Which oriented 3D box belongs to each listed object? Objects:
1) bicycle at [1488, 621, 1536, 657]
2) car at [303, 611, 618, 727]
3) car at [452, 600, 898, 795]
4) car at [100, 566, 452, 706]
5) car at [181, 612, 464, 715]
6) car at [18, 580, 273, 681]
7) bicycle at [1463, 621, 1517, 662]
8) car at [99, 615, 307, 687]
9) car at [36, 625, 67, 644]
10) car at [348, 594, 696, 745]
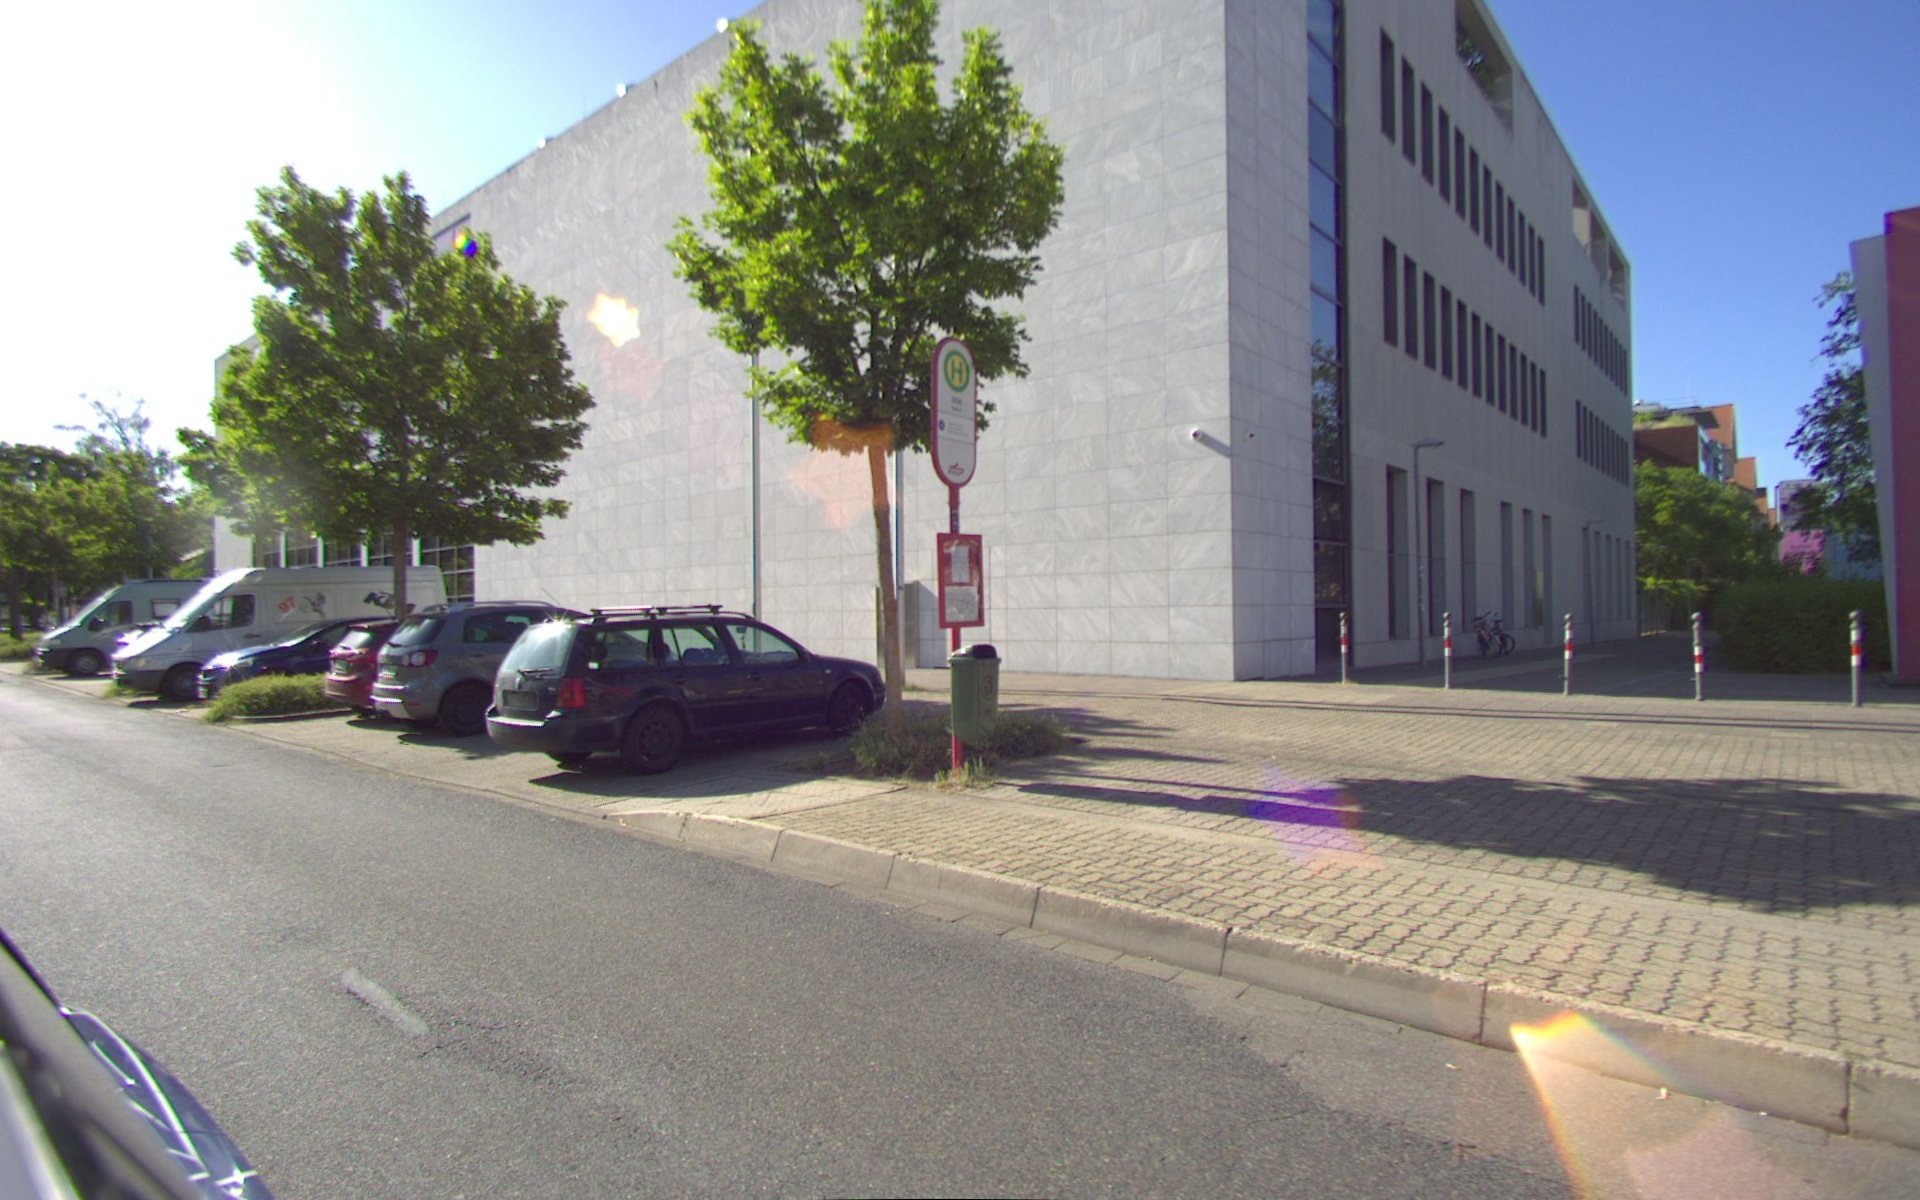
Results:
[{"bbox_3d":[14.975,1.046,27.426,0.738,0.942,2.224,-3,-3,39],"label":"bicycle"},{"bbox_3d":[-7.528,0.941,15.518,1.855,1.529,3.945,-1,-1,41],"label":"car"},{"bbox_3d":[-2.775,0.843,10.561,1.868,1.504,4.087,-3,0,41],"label":"car"},{"bbox_3d":[-13.446,0.581,20.235,1.987,2.428,5.491,-2,0,42],"label":"car"},{"bbox_3d":[-11.133,1.022,17.856,1.785,1.496,3.890,-1,0,42],"label":"car"},{"bbox_3d":[-22.437,0.758,28.070,2.122,2.436,5.193,-2,1,42],"label":"car"},{"bbox_3d":[13.072,1.010,24.915,0.738,0.942,2.224,-2,-2,39],"label":"bicycle"},{"bbox_3d":[-18.495,1.188,24.825,1.848,1.483,3.789,-2,0,43],"label":"car"},{"bbox_3d":[-81.052,3.043,90.278,1.809,1.626,4.146,2,-3,-45],"label":"car"},{"bbox_3d":[-5.851,0.814,13.835,1.828,1.677,3.943,-1,1,44],"label":"car"}]
